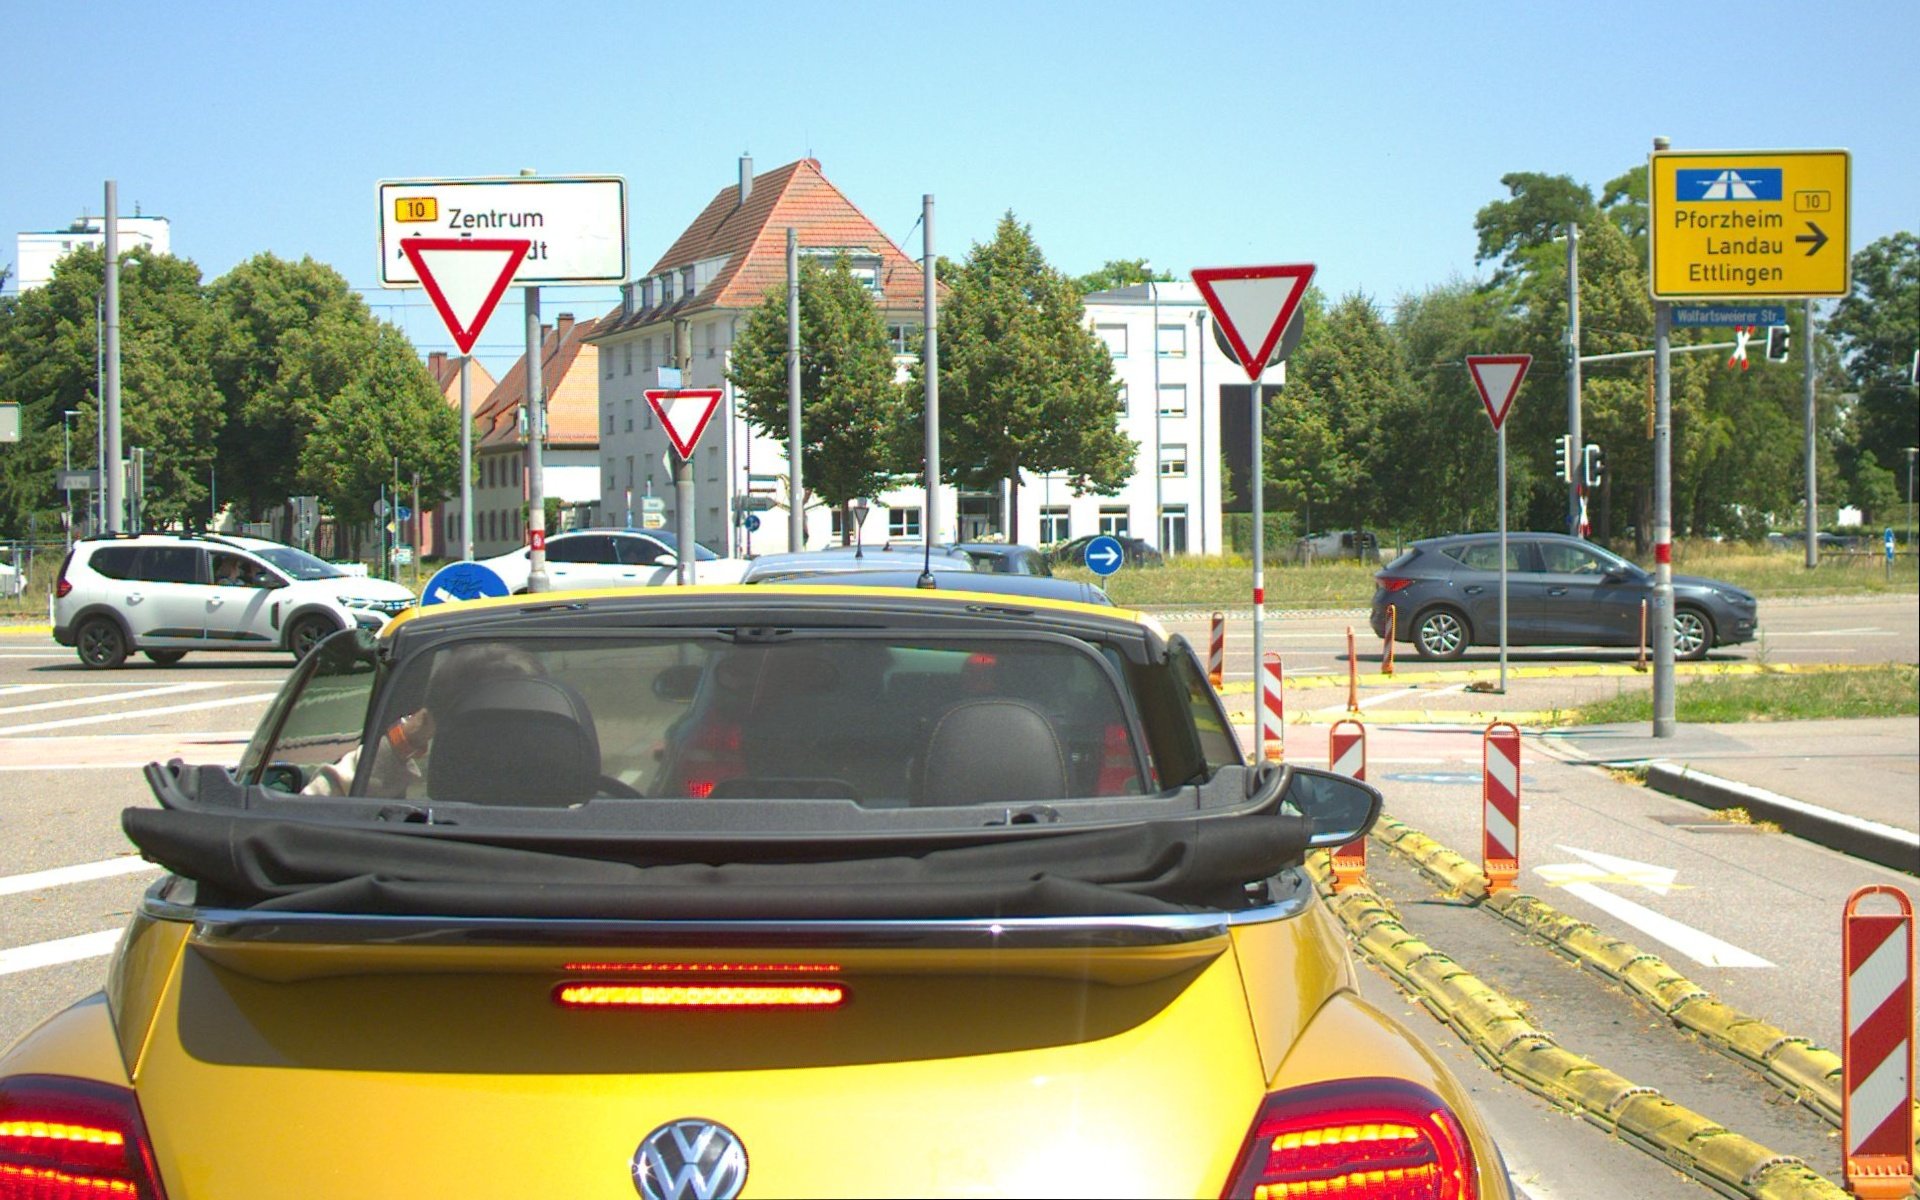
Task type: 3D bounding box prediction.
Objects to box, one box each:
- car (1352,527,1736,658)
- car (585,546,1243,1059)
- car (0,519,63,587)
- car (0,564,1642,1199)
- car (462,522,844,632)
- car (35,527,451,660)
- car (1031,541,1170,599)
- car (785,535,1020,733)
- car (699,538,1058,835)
[{"bbox_3d":[6.614,-0.105,39.254,4.206,1.437,1.999,0,1,8],"label":"car"},{"bbox_3d":[-0.149,0.538,11.662,1.848,1.437,4.000,0,1,-1],"label":"car"},{"bbox_3d":[-26.876,-1.266,92.952,4.671,1.821,2.000,-1,1,-35],"label":"car"},{"bbox_3d":[-0.312,0.671,4.878,1.752,1.417,3.778,0,1,-1],"label":"car"},{"bbox_3d":[-4.288,-0.339,48.317,4.993,1.504,1.999,0,1,12],"label":"car"},{"bbox_3d":[-8.736,-0.106,42.005,4.578,1.561,1.999,0,1,14],"label":"car"},{"bbox_3d":[4.427,-0.949,108.260,4.188,1.666,1.948,-1,1,7],"label":"car"},{"bbox_3d":[-0.443,0.219,27.475,1.736,1.472,4.000,0,1,-1],"label":"car"},{"bbox_3d":[-0.416,0.386,18.675,1.736,1.437,4.000,0,1,-1],"label":"car"}]
